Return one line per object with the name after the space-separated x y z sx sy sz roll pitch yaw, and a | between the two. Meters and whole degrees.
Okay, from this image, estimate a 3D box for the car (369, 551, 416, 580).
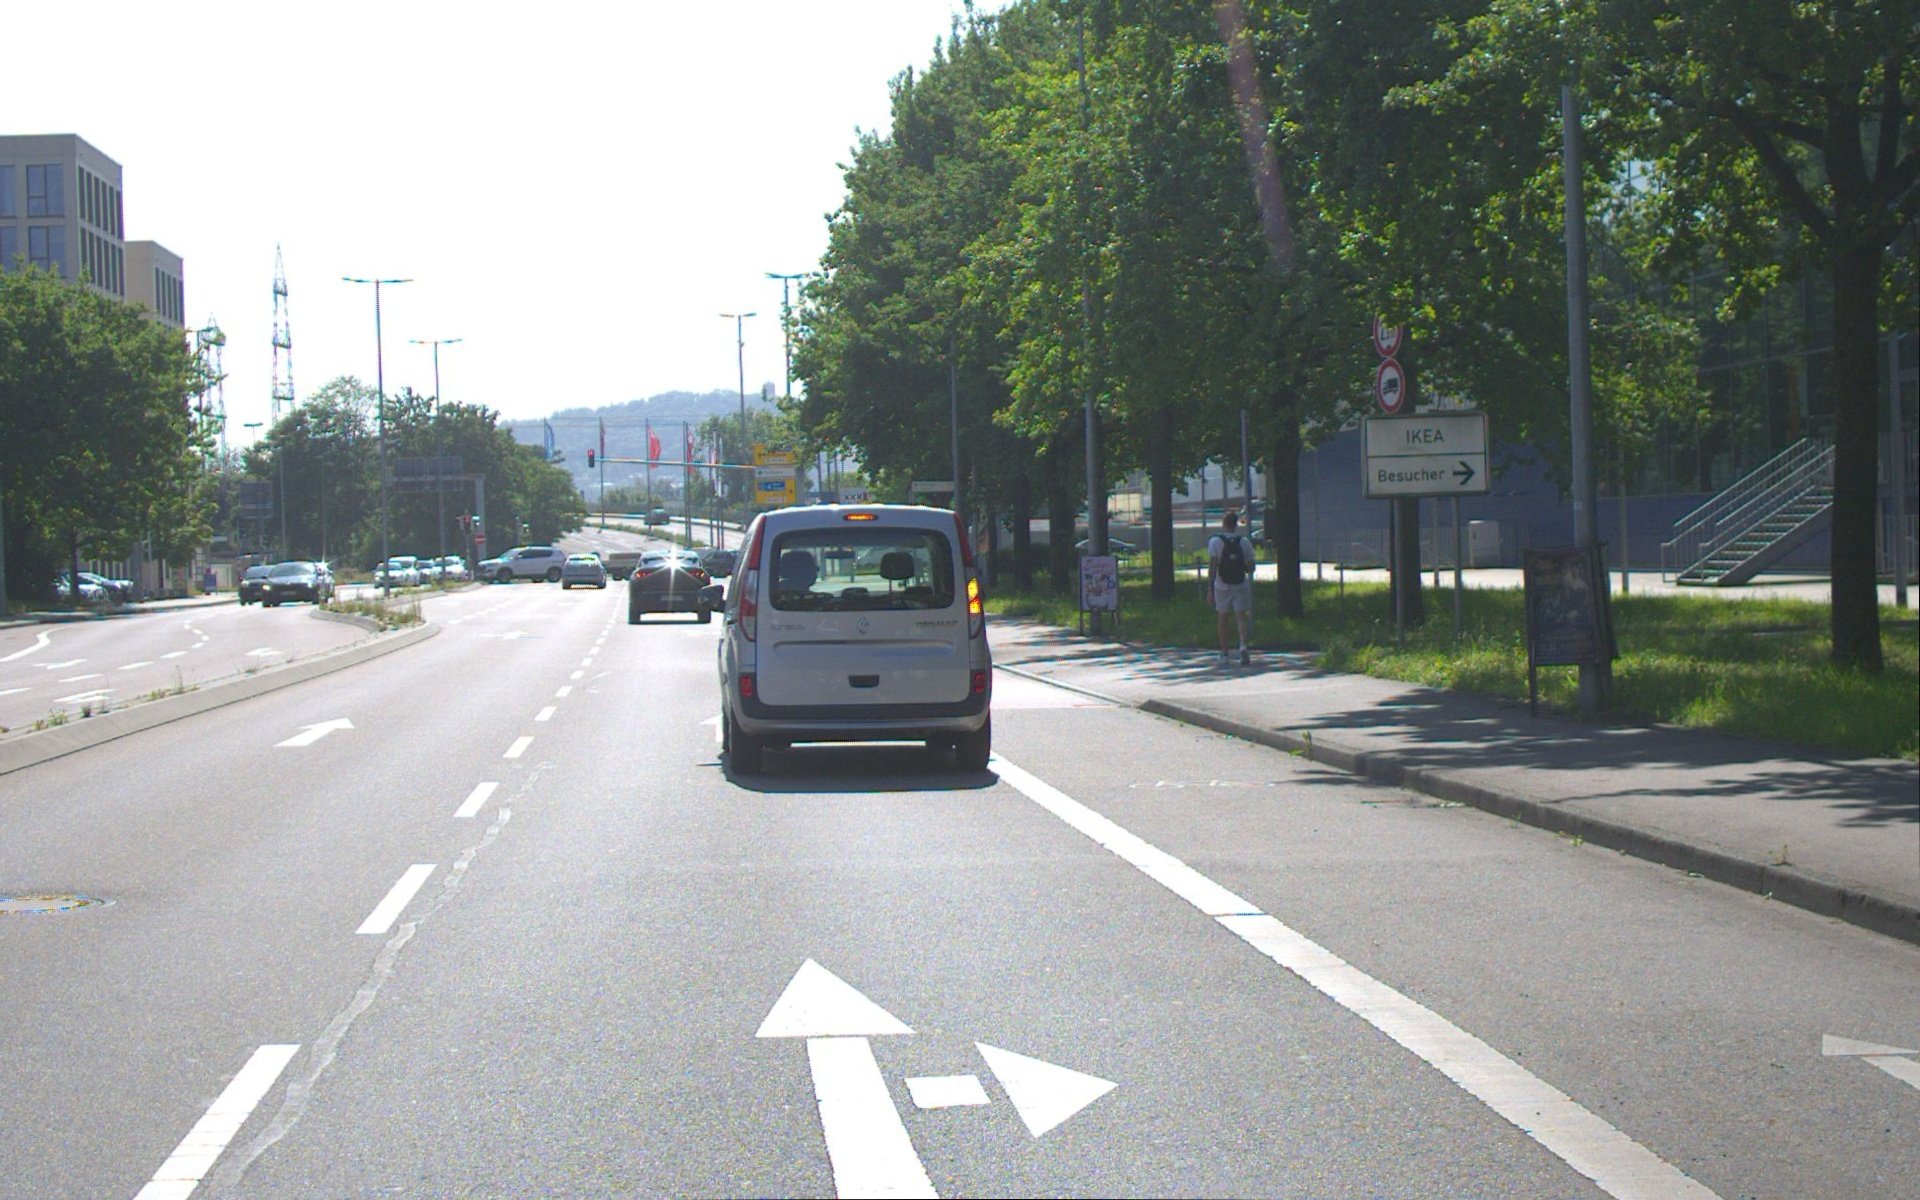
-31.391 -1.920 190.361 1.892 1.459 4.000 -2 1 0 | car

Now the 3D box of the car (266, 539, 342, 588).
-21.861 -1.242 114.666 1.841 1.458 5.001 -4 1 -4 | car

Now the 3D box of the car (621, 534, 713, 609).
-6.769 -0.685 79.856 1.807 1.634 4.459 -2 1 -1 | car

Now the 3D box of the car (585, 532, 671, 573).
-16.941 -2.413 175.236 3.986 2.006 2.001 0 2 -18 | car

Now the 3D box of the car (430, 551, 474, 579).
-28.320 -1.947 191.769 1.815 1.459 4.000 -2 1 0 | car

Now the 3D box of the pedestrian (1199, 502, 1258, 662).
3.123 -0.216 40.056 0.535 1.835 0.728 -2 1 -4 | pedestrian

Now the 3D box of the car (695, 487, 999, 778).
-0.884 0.171 24.288 1.905 1.822 4.181 -2 1 -4 | car

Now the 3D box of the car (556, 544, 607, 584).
-16.585 -1.603 150.840 1.993 1.678 4.001 -2 1 -4 | car

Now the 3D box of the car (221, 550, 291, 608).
-26.134 -0.782 127.690 1.993 2.006 4.001 1 2 -3 | car
